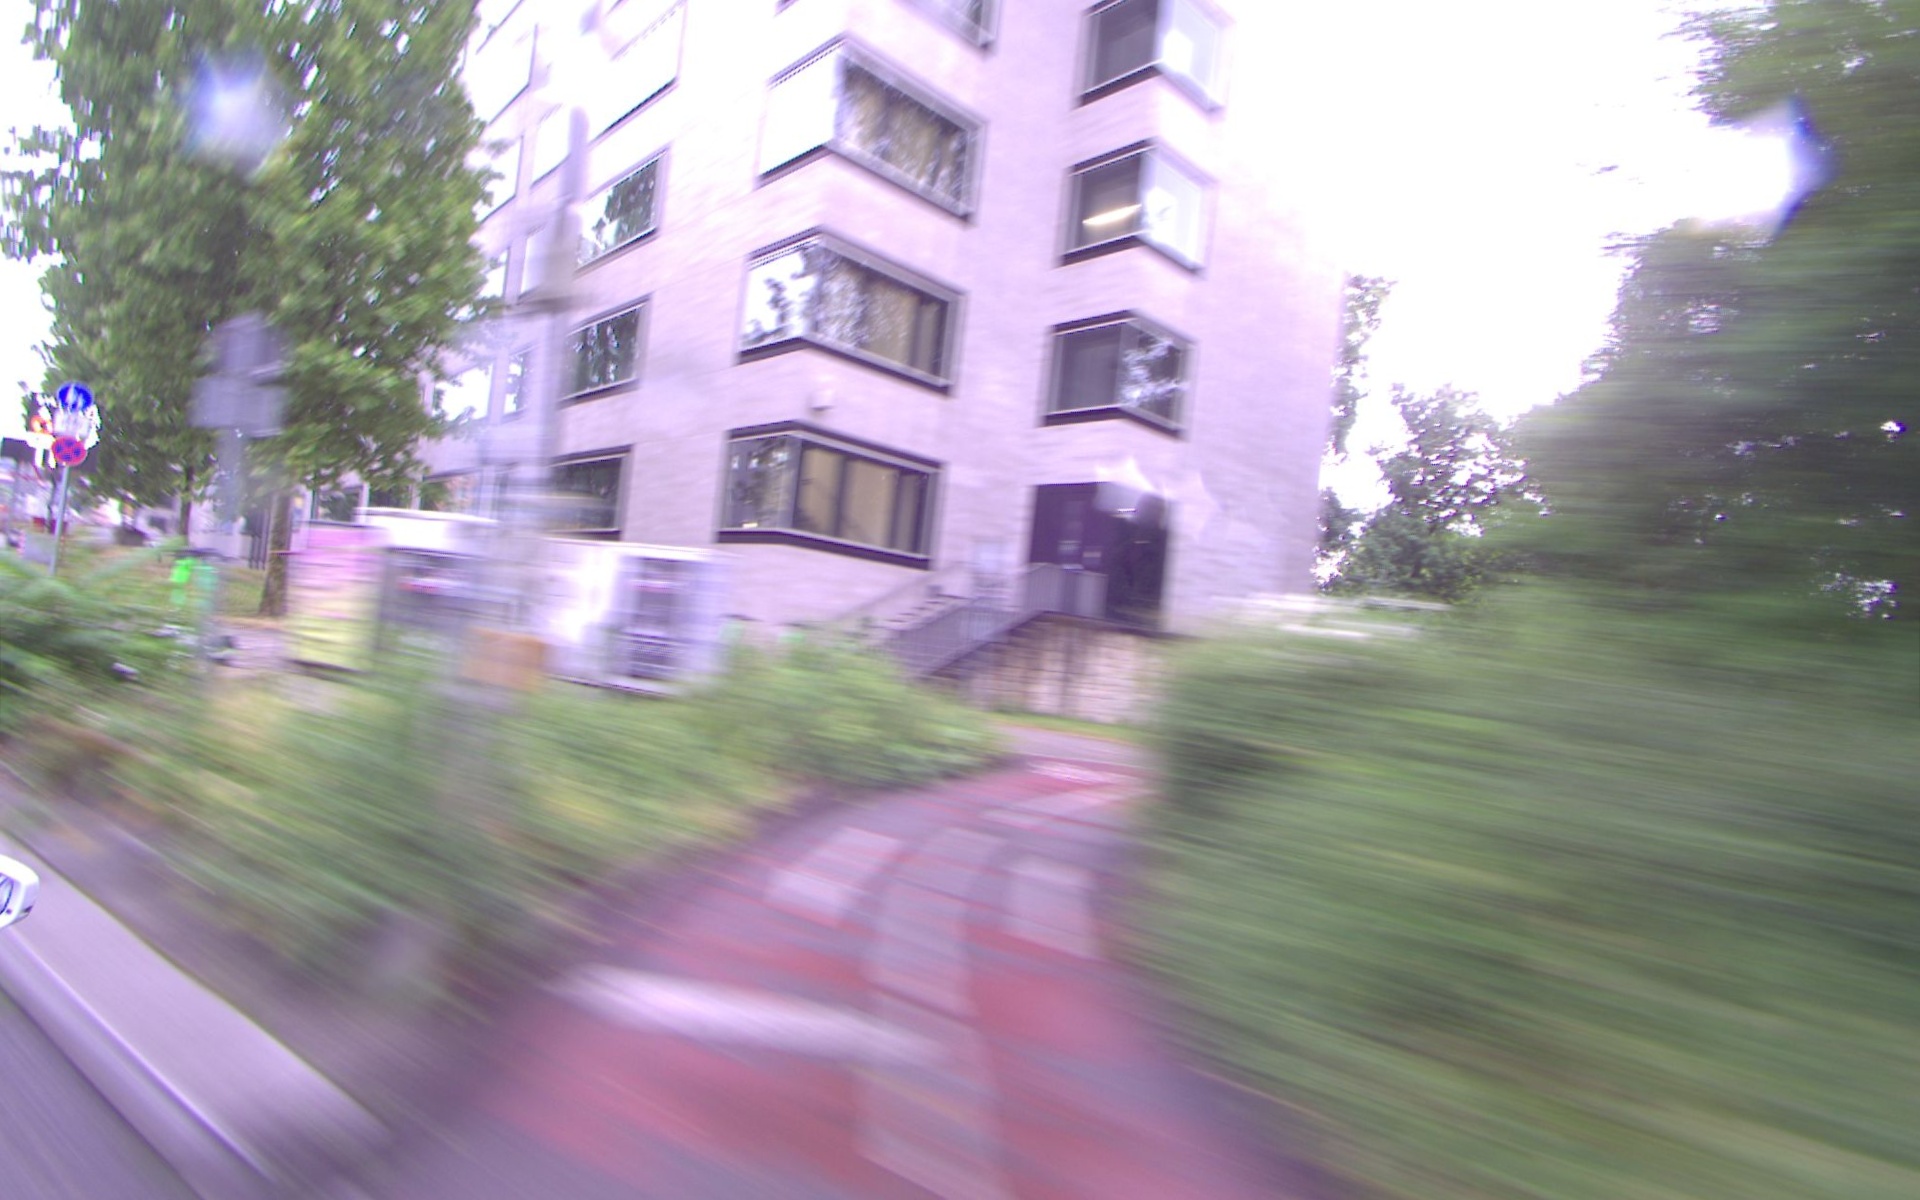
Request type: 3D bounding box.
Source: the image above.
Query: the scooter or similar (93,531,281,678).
[{"bbox_3d":[-7.212,0.059,9.467,0.677,1.215,1.338,6,-1,-4],"label":"scooter or similar"}]

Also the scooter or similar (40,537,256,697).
[{"bbox_3d":[-6.782,0.137,8.400,1.564,1.142,0.637,6,-1,22],"label":"scooter or similar"}]

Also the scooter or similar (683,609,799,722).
[{"bbox_3d":[-2.783,0.853,12.866,0.547,1.328,1.235,5,-1,44],"label":"scooter or similar"}]

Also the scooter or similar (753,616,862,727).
[{"bbox_3d":[-1.947,0.935,12.962,0.466,1.328,1.235,5,-1,44],"label":"scooter or similar"}]

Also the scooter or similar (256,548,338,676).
[{"bbox_3d":[-6.942,0.102,10.510,0.559,1.215,1.313,7,-1,-36],"label":"scooter or similar"}]
